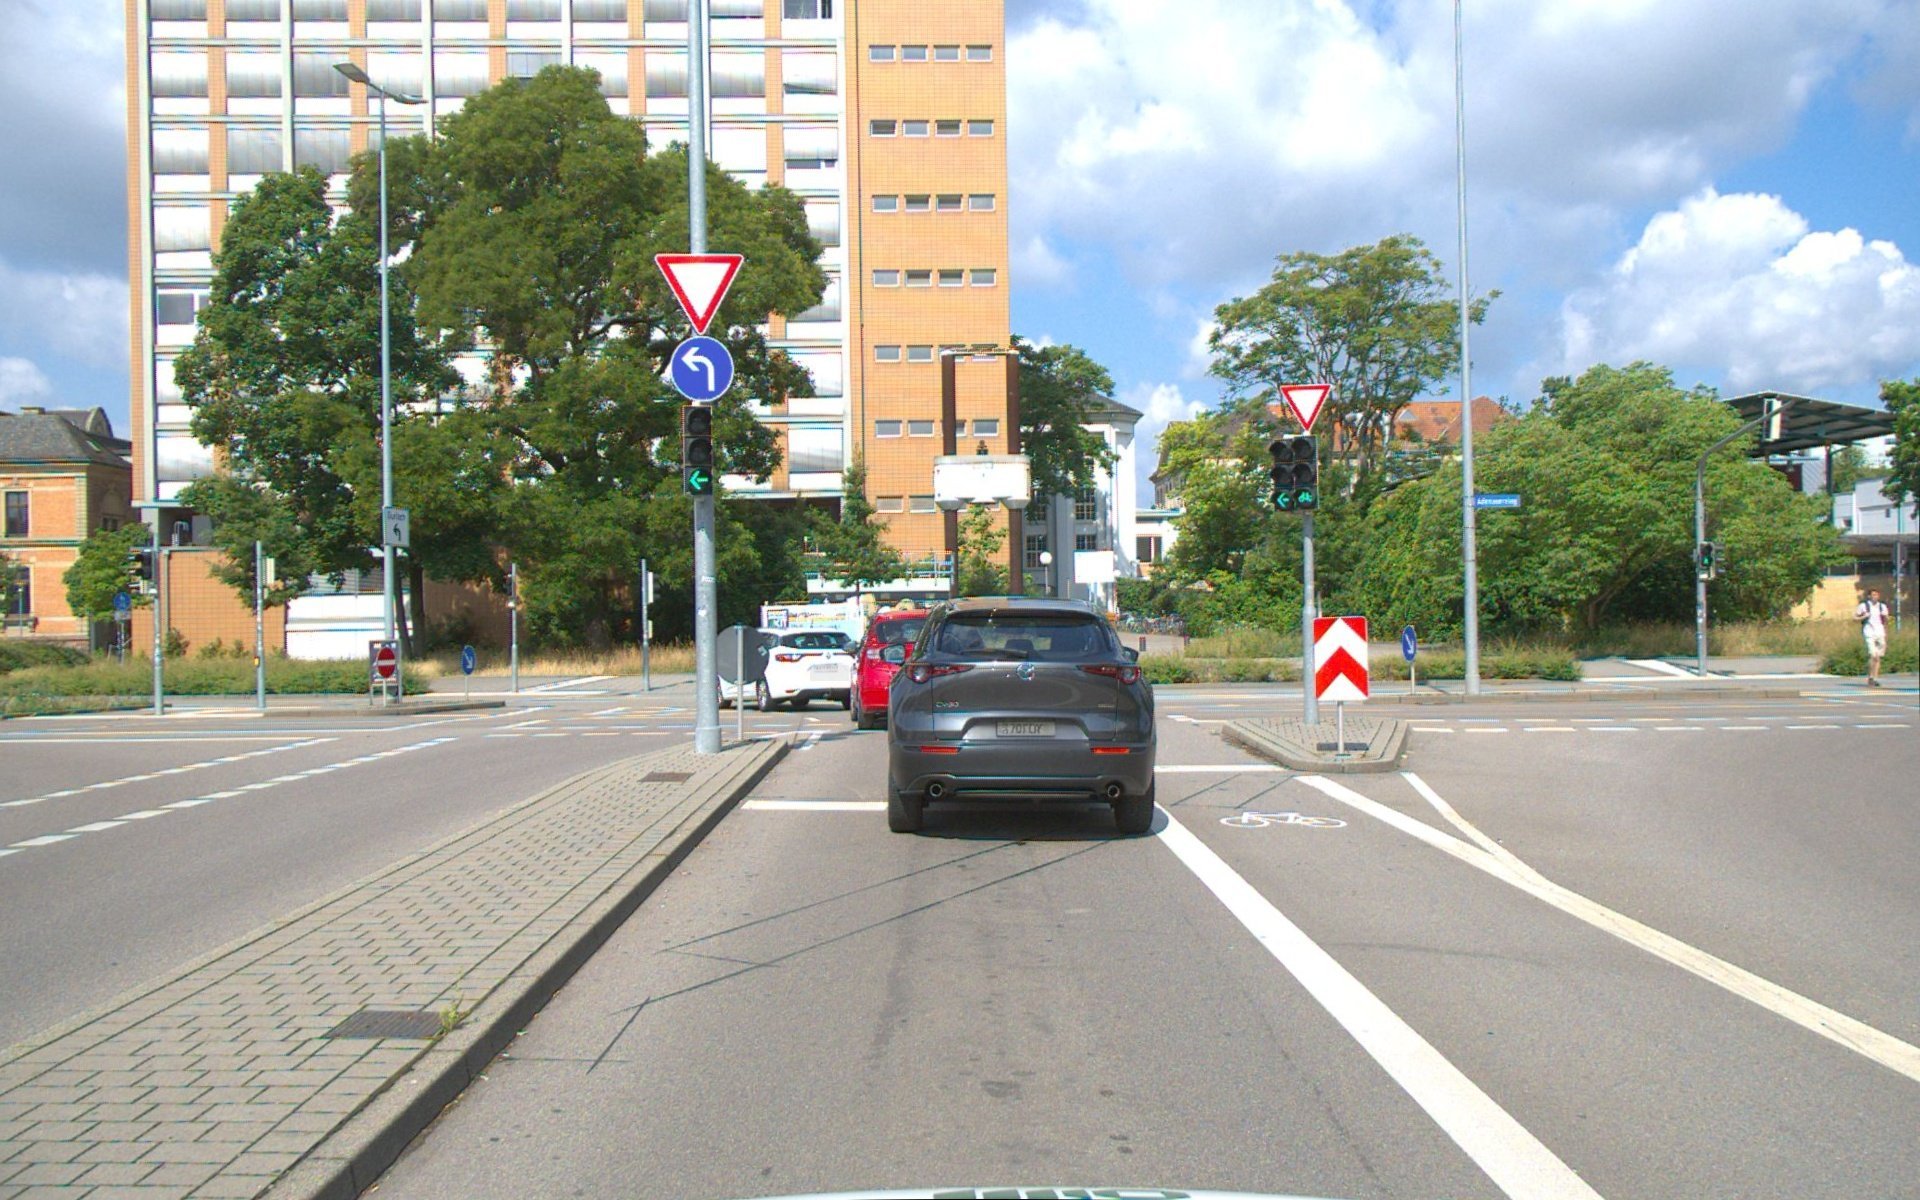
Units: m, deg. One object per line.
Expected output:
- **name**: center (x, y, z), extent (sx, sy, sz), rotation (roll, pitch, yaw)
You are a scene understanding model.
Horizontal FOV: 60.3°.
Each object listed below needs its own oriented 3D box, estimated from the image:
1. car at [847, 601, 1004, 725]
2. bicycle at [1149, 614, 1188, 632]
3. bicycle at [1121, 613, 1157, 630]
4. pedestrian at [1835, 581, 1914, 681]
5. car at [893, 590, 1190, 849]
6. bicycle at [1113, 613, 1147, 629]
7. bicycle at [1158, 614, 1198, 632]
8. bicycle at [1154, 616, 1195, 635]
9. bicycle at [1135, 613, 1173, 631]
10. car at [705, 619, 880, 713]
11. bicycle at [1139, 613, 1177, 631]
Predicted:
- **car**: center (-0.542, 0.837, 21.793), extent (1.781, 1.465, 4.062), rotation (0, -2, -5)
- **bicycle**: center (11.354, 1.241, 90.045), extent (2.013, 0.953, 0.804), rotation (-1, -1, -2)
- **bicycle**: center (10.598, 1.278, 98.228), extent (2.013, 0.953, 0.804), rotation (-1, -1, -2)
- **pedestrian**: center (17.687, 0.600, 32.010), extent (0.684, 1.890, 1.177), rotation (-1, -2, -11)
- **car**: center (0.439, 0.730, 12.123), extent (1.769, 1.534, 4.203), rotation (1, 0, -2)
- **bicycle**: center (10.582, 1.305, 103.087), extent (2.013, 0.953, 0.804), rotation (-1, -1, -2)
- **bicycle**: center (11.708, 1.238, 88.727), extent (2.013, 0.953, 0.804), rotation (-1, -1, -2)
- **bicycle**: center (11.157, 1.311, 86.048), extent (2.013, 0.953, 0.804), rotation (-1, -1, -2)
- **bicycle**: center (11.080, 1.262, 94.502), extent (2.013, 0.953, 0.804), rotation (-1, -1, -2)
- **car**: center (-3.070, 1.123, 29.527), extent (1.824, 1.498, 4.301), rotation (-1, 0, -25)
- **bicycle**: center (11.176, 1.259, 93.511), extent (2.013, 0.953, 0.804), rotation (-1, -1, -2)
